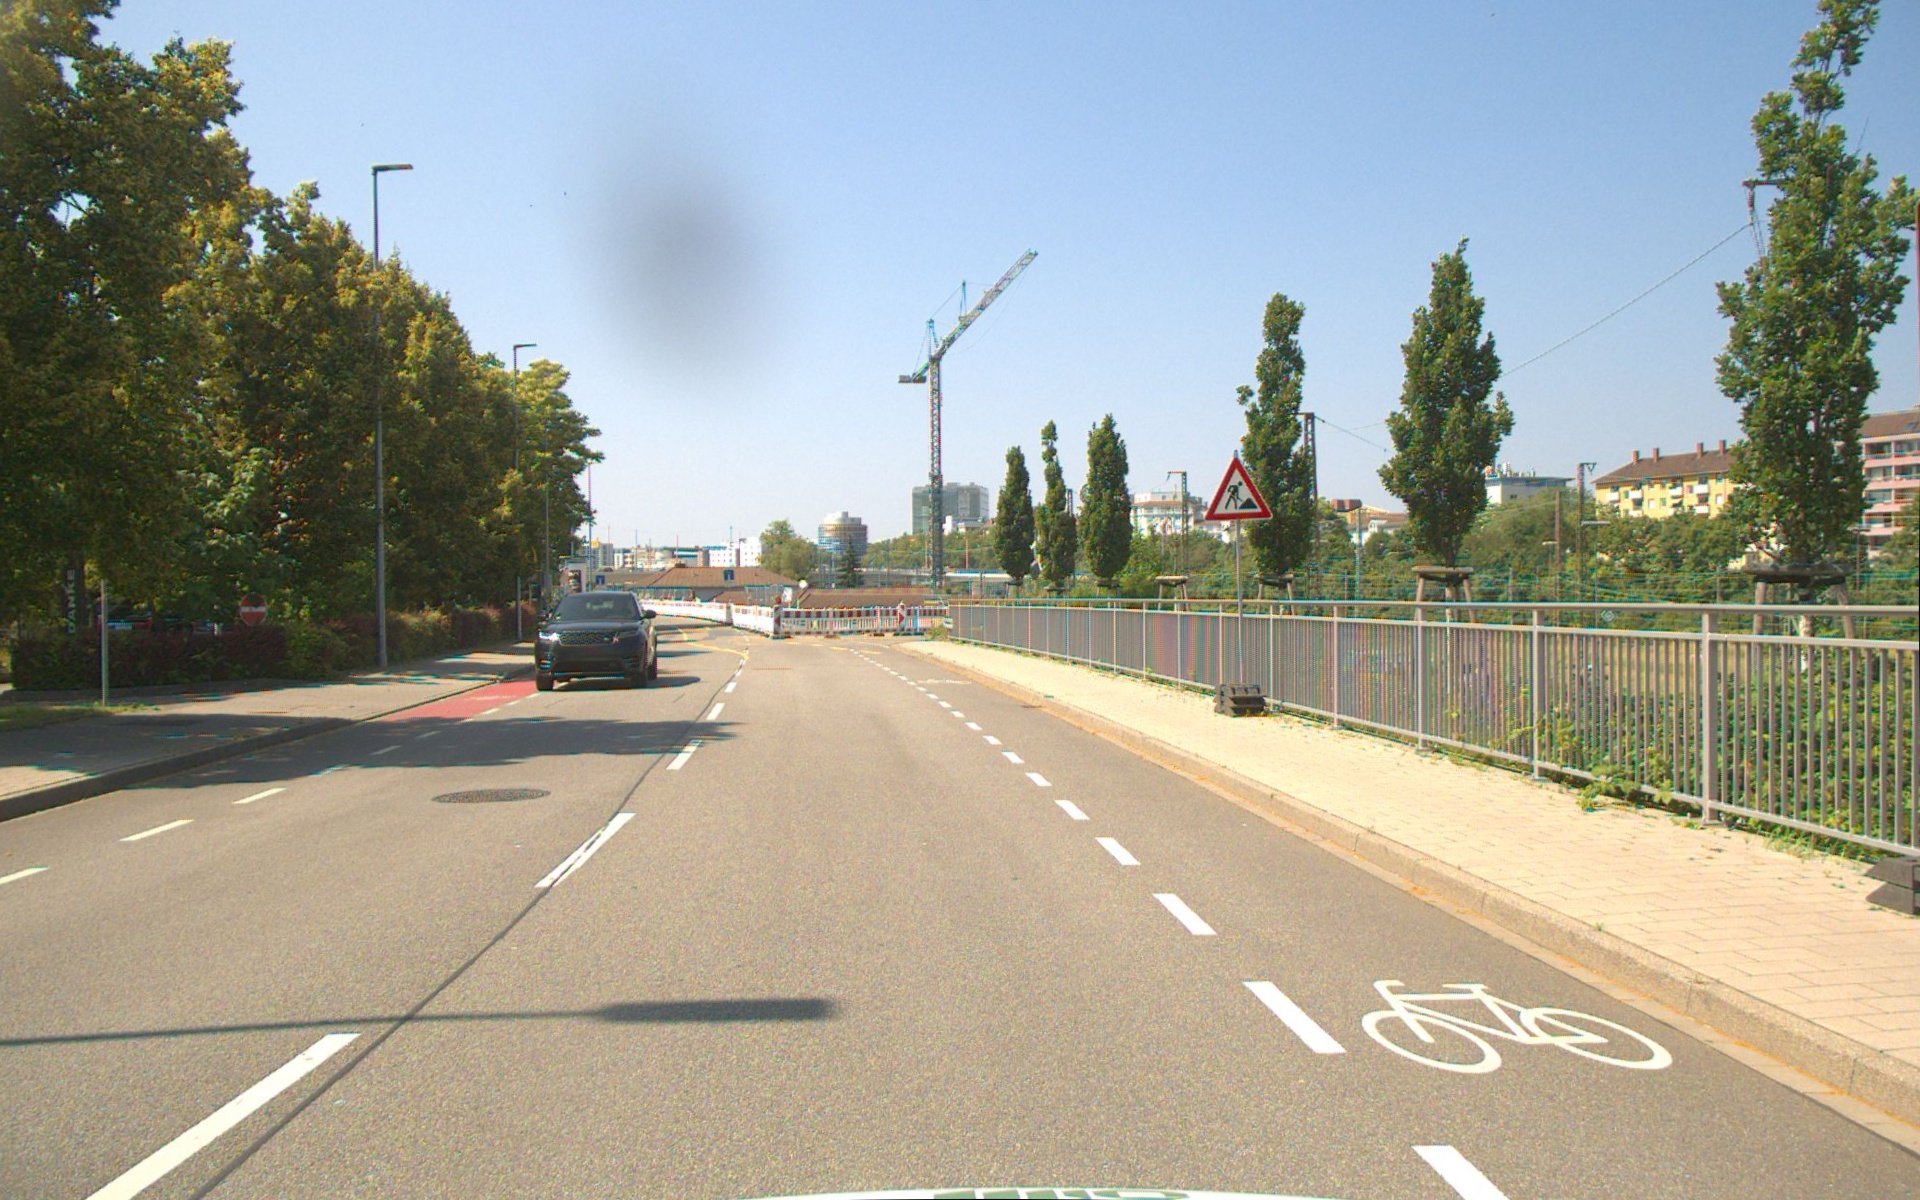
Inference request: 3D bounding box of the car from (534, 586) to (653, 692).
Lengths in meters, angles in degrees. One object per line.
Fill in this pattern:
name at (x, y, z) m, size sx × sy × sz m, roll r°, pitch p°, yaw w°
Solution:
car at (-6.609, 0.638, 29.999) m, size 1.916 × 1.725 × 4.599 m, roll -1°, pitch 1°, yaw -12°
